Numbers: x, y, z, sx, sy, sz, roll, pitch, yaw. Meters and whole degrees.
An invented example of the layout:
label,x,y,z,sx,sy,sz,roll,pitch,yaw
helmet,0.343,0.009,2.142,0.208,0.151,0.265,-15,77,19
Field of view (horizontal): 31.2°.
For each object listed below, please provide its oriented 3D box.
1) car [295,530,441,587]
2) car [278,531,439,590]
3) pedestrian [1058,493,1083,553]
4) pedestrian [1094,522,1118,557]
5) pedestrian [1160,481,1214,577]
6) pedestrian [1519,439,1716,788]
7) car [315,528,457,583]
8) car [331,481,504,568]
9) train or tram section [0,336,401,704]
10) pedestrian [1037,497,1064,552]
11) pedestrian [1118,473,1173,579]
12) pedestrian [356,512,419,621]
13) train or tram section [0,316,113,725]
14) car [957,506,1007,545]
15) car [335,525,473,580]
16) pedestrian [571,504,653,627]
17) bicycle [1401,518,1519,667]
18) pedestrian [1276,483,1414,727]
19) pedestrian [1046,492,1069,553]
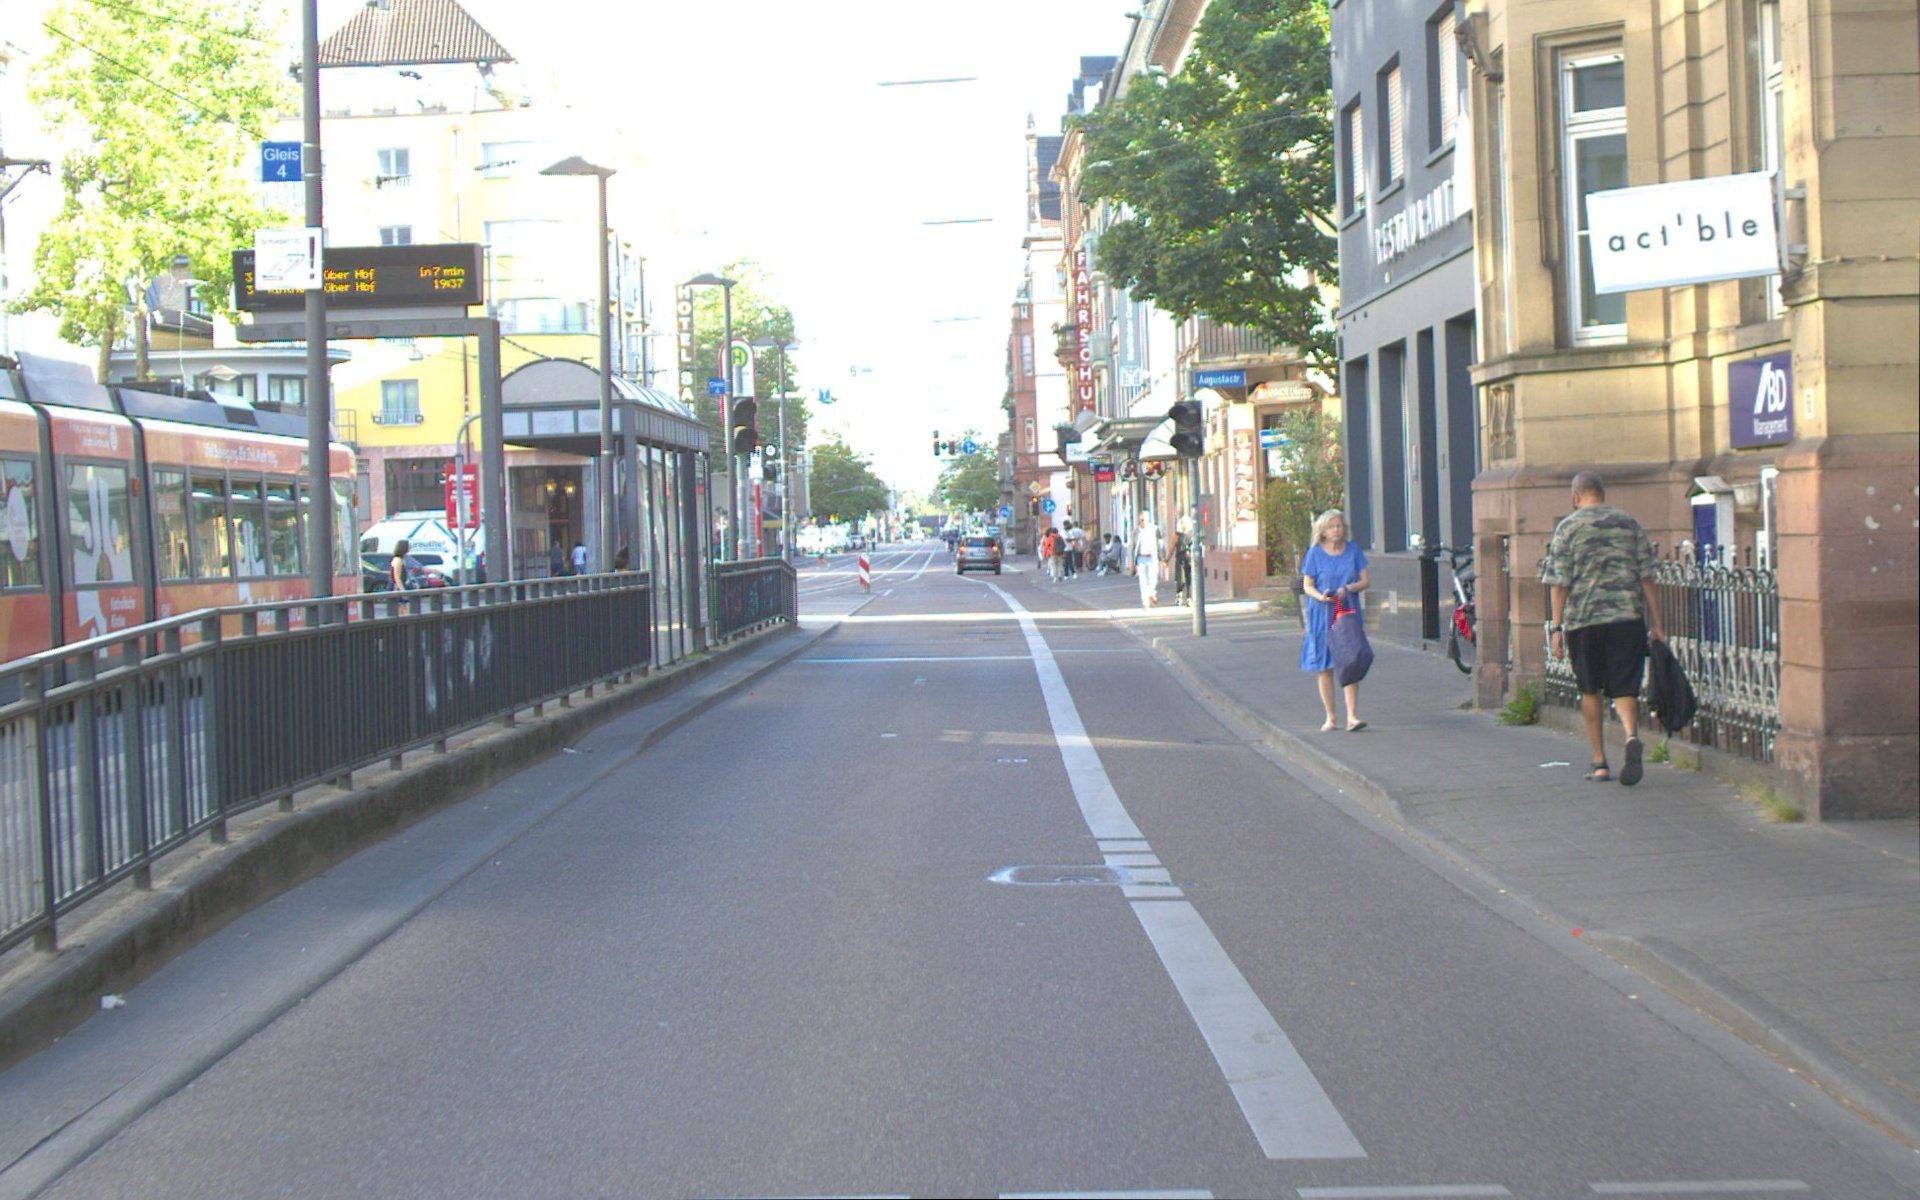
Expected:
label,x,y,z,sx,sy,sz,roll,pitch,yaw
car,-17.749,-1.255,103.243,3.987,1.505,1.800,-2,2,1
car,-17.553,-1.149,100.448,4.320,1.505,1.800,-2,2,1
pedestrian,3.409,-2.377,106.155,0.648,1.790,0.561,-3,2,4
pedestrian,4.518,-1.870,106.276,0.690,1.040,0.680,-3,2,4
pedestrian,3.987,-1.259,60.436,0.713,1.597,0.773,-6,3,-3
pedestrian,3.608,0.057,18.928,0.801,1.817,0.798,-5,3,0
car,-17.645,-1.372,105.821,3.987,1.505,1.800,-2,2,1
car,-17.477,-2.445,110.893,5.106,2.566,2.129,-2,2,1
train or tram section,-9.418,-0.988,40.275,2.885,3.478,14.951,-2,2,1
pedestrian,3.249,-2.694,123.054,0.843,1.911,0.662,-3,2,-1
pedestrian,3.246,-1.309,60.262,0.713,1.768,0.773,-6,3,-3
pedestrian,-9.230,-0.541,55.452,0.869,1.708,0.788,-1,3,-2
train or tram section,-9.608,-0.518,25.713,2.885,3.478,14.169,-2,2,0
car,0.889,-3.058,141.129,1.993,1.444,4.001,-2,2,0
car,-17.512,-1.501,108.349,3.987,1.505,1.800,-2,2,1
pedestrian,-3.453,-0.344,34.133,0.685,1.171,0.537,-3,2,1
bicycle,4.447,-0.087,30.688,0.623,1.194,1.908,-6,3,-1
pedestrian,2.734,0.019,24.501,0.762,1.639,0.832,-5,3,0
pedestrian,2.958,-2.339,103.982,0.560,1.790,0.650,-3,2,7
